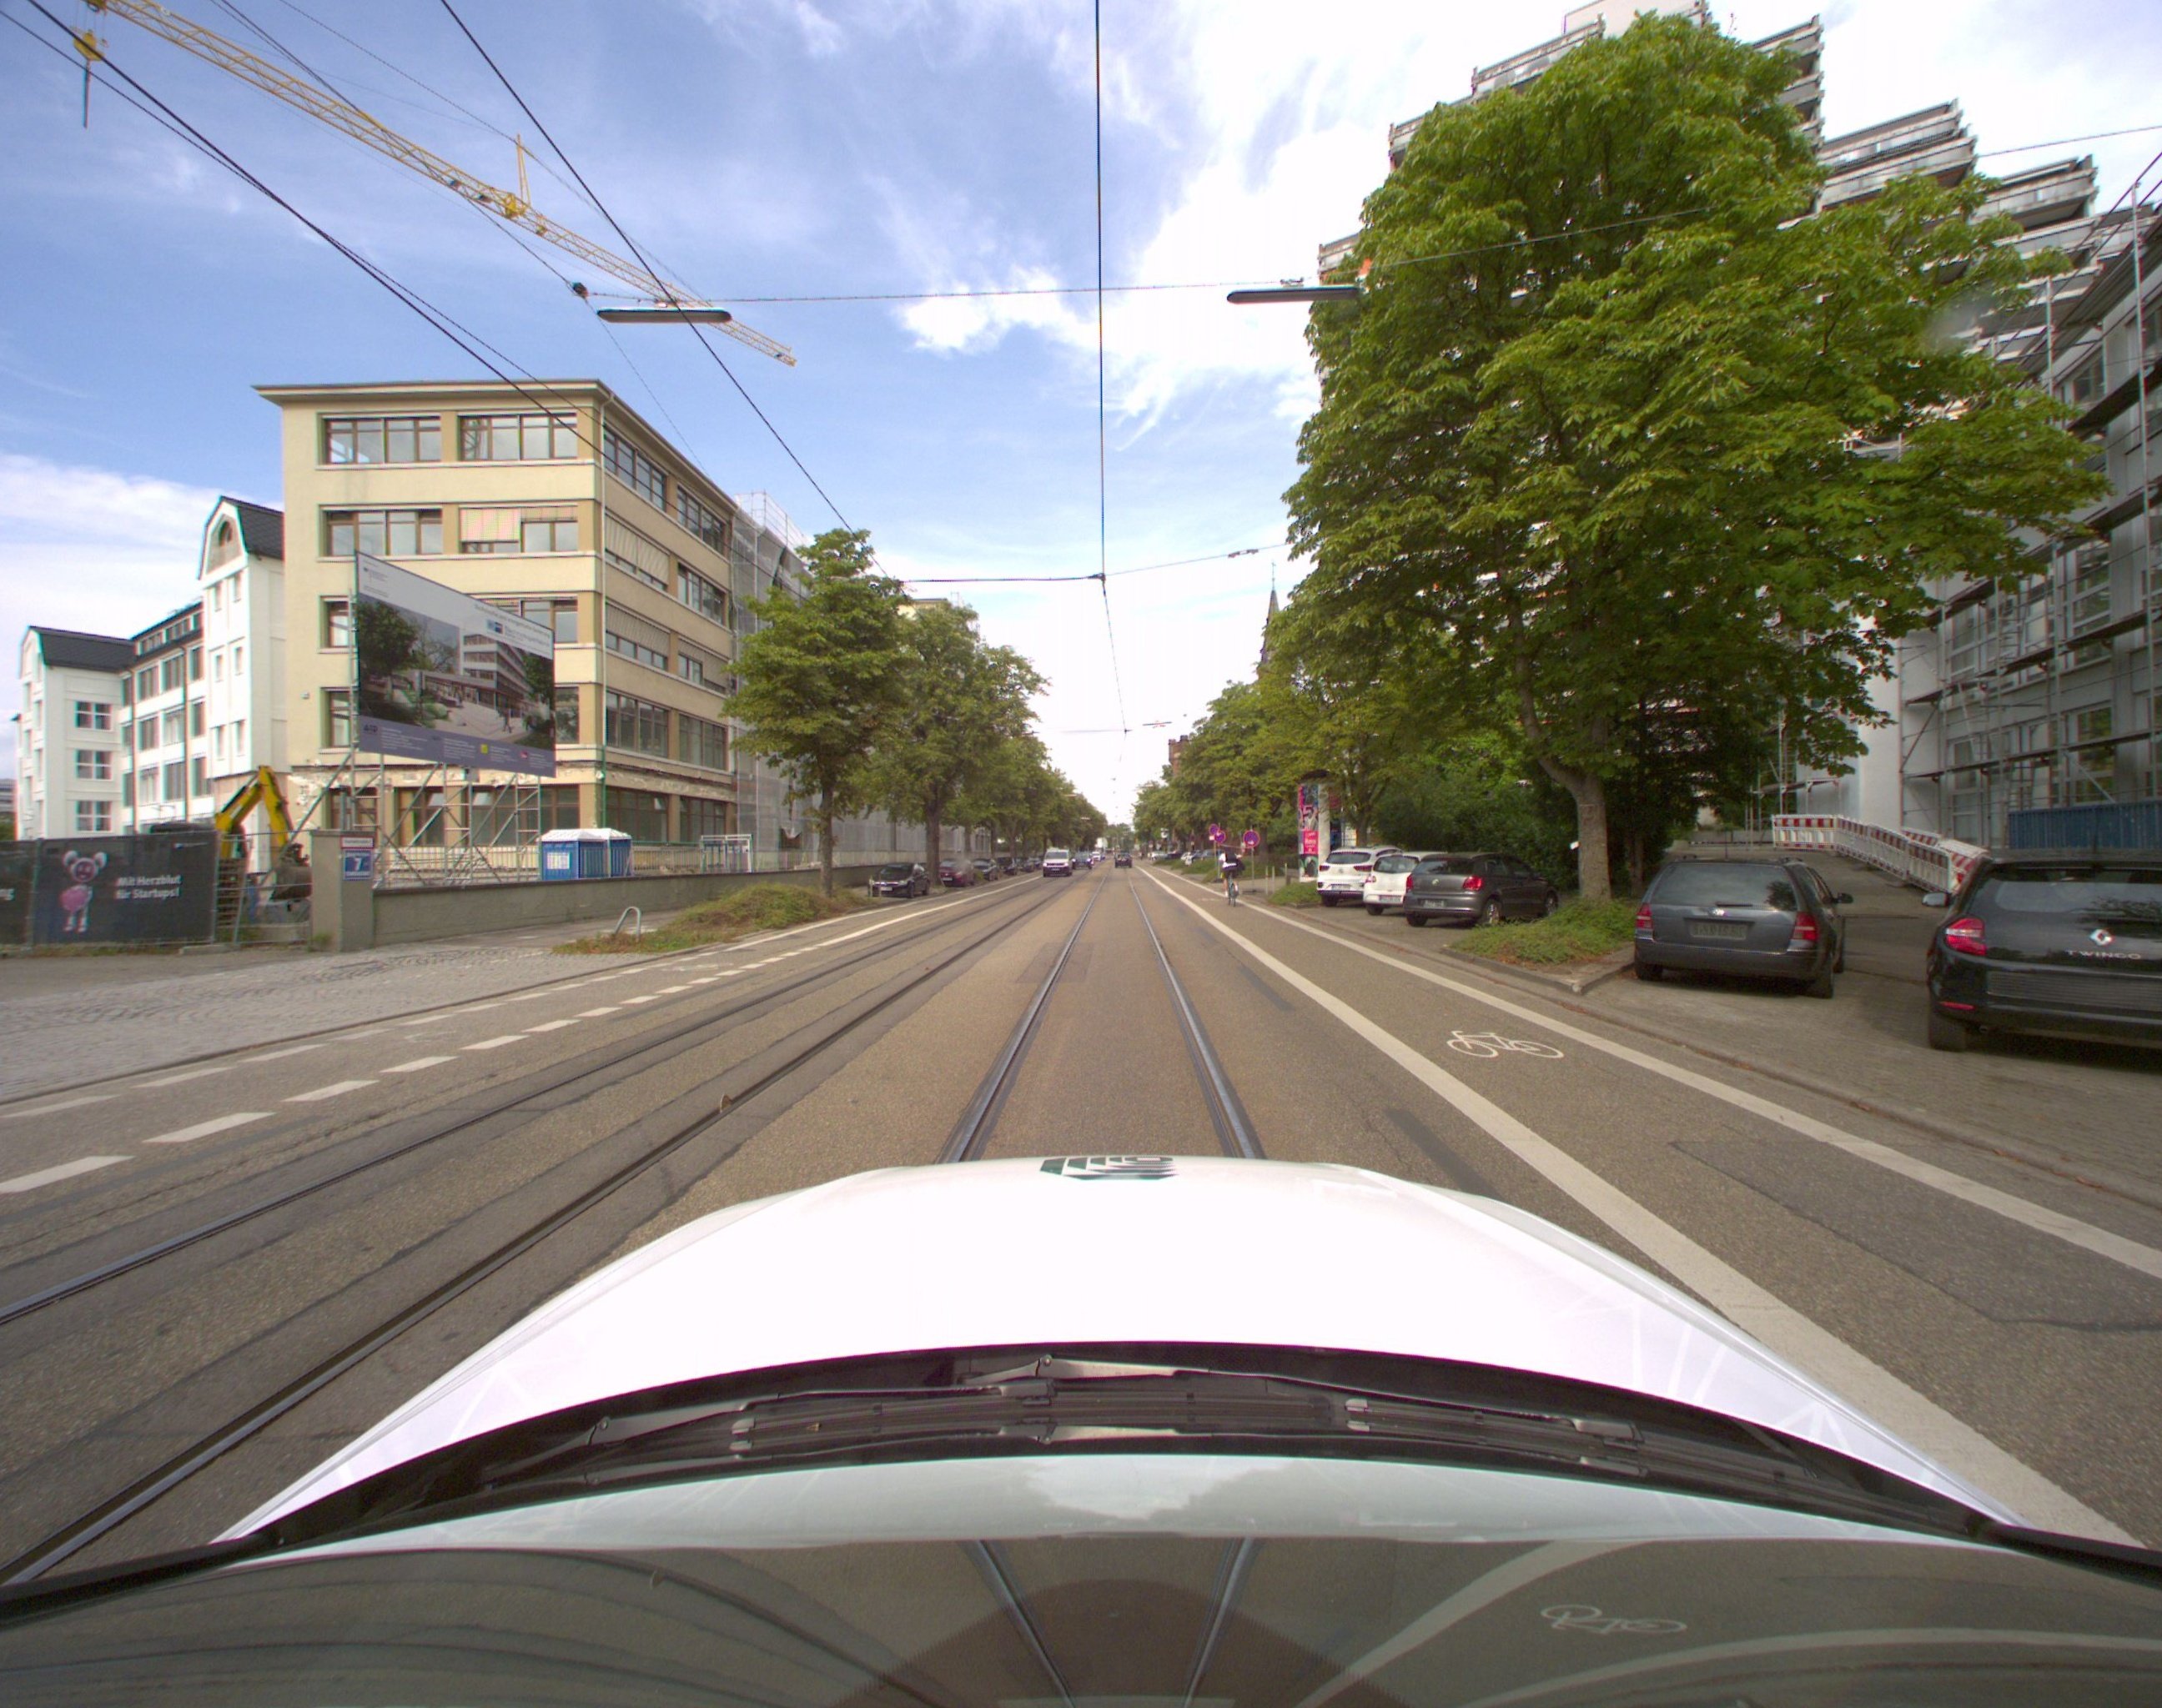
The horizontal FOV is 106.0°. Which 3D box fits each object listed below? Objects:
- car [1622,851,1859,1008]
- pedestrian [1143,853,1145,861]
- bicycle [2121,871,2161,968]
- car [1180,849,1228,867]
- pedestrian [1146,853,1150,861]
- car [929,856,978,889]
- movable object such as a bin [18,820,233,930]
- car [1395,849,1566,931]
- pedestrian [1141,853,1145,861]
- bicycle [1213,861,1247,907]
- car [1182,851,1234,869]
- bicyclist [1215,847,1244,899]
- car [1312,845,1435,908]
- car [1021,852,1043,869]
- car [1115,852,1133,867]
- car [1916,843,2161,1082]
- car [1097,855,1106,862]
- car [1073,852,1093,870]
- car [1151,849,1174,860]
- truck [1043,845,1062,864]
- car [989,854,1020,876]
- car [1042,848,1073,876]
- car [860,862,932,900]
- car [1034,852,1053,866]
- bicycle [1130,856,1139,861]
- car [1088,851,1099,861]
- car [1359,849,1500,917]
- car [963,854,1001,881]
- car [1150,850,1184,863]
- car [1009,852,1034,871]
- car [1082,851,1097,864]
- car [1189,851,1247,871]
[{"bbox_3d":[7.766,0.705,9.463,3.760,1.458,1.620,0,0,-43],"label":"car"},{"bbox_3d":[15.610,0.811,202.533,0.515,2.013,0.480,0,0,6],"label":"pedestrian"},{"bbox_3d":[13.617,0.745,9.362,1.947,1.128,0.542,-2,-1,32],"label":"bicycle"},{"bbox_3d":[11.020,0.358,73.255,3.975,1.627,1.884,-1,0,-1],"label":"car"},{"bbox_3d":[13.673,0.618,165.247,0.721,1.646,0.769,0,0,12],"label":"pedestrian"},{"bbox_3d":[-6.722,0.947,43.196,1.795,1.583,4.033,-2,0,2],"label":"car"},{"bbox_3d":[-18.971,0.395,16.273,1.977,2.067,1.963,-1,0,4],"label":"movable object such as a bin"},{"bbox_3d":[7.996,0.638,16.220,3.551,1.442,1.606,-1,0,-37],"label":"car"},{"bbox_3d":[12.644,0.605,167.024,0.721,1.646,0.769,0,0,12],"label":"pedestrian"},{"bbox_3d":[4.320,0.838,23.771,0.655,1.249,2.125,0,0,1],"label":"bicycle"},{"bbox_3d":[10.543,0.492,67.860,3.975,1.425,1.884,-1,0,-1],"label":"car"},{"bbox_3d":[4.328,0.540,23.802,0.655,1.463,1.179,0,0,1],"label":"bicyclist"},{"bbox_3d":[8.067,0.566,22.375,3.463,1.573,1.543,-1,0,-37],"label":"car"},{"bbox_3d":[-4.911,0.631,81.785,1.795,1.583,4.033,-2,0,2],"label":"car"},{"bbox_3d":[4.419,0.546,83.389,1.786,1.423,4.002,0,0,2],"label":"car"},{"bbox_3d":[8.091,0.692,6.691,3.760,1.522,1.620,0,0,-43],"label":"car"},{"bbox_3d":[4.564,0.959,181.313,1.795,1.622,4.486,-2,0,2],"label":"car"},{"bbox_3d":[0.210,0.646,78.329,1.795,1.622,4.486,-2,0,2],"label":"car"},{"bbox_3d":[14.547,0.145,145.037,3.975,1.910,1.999,0,0,-1],"label":"car"},{"bbox_3d":[-3.674,0.068,106.436,2.063,2.470,4.901,-2,0,2],"label":"truck"},{"bbox_3d":[-5.866,0.858,62.795,1.795,1.583,4.033,-2,0,2],"label":"car"},{"bbox_3d":[-1.557,0.533,55.786,1.795,1.823,4.486,-2,0,2],"label":"car"},{"bbox_3d":[-7.366,1.038,32.812,1.795,1.374,4.033,-2,0,2],"label":"car"},{"bbox_3d":[-4.280,0.565,93.381,1.795,1.583,4.033,-2,0,2],"label":"car"},{"bbox_3d":[11.055,0.922,167.166,1.709,0.991,0.660,0,0,11],"label":"bicycle"},{"bbox_3d":[2.172,0.283,141.871,1.795,1.622,4.486,-2,0,2],"label":"car"},{"bbox_3d":[8.279,0.617,19.265,3.463,1.442,1.543,-1,0,-37],"label":"car"},{"bbox_3d":[-6.270,0.818,52.062,1.795,1.583,4.033,-2,0,2],"label":"car"},{"bbox_3d":[10.417,0.256,98.935,3.975,1.508,1.884,-1,0,-1],"label":"car"},{"bbox_3d":[-5.278,0.679,73.024,1.795,1.583,4.033,-2,0,2],"label":"car"},{"bbox_3d":[1.089,0.484,106.418,1.795,1.622,4.486,-2,0,2],"label":"car"},{"bbox_3d":[10.223,0.534,60.961,3.975,1.425,1.884,-1,0,-1],"label":"car"}]
